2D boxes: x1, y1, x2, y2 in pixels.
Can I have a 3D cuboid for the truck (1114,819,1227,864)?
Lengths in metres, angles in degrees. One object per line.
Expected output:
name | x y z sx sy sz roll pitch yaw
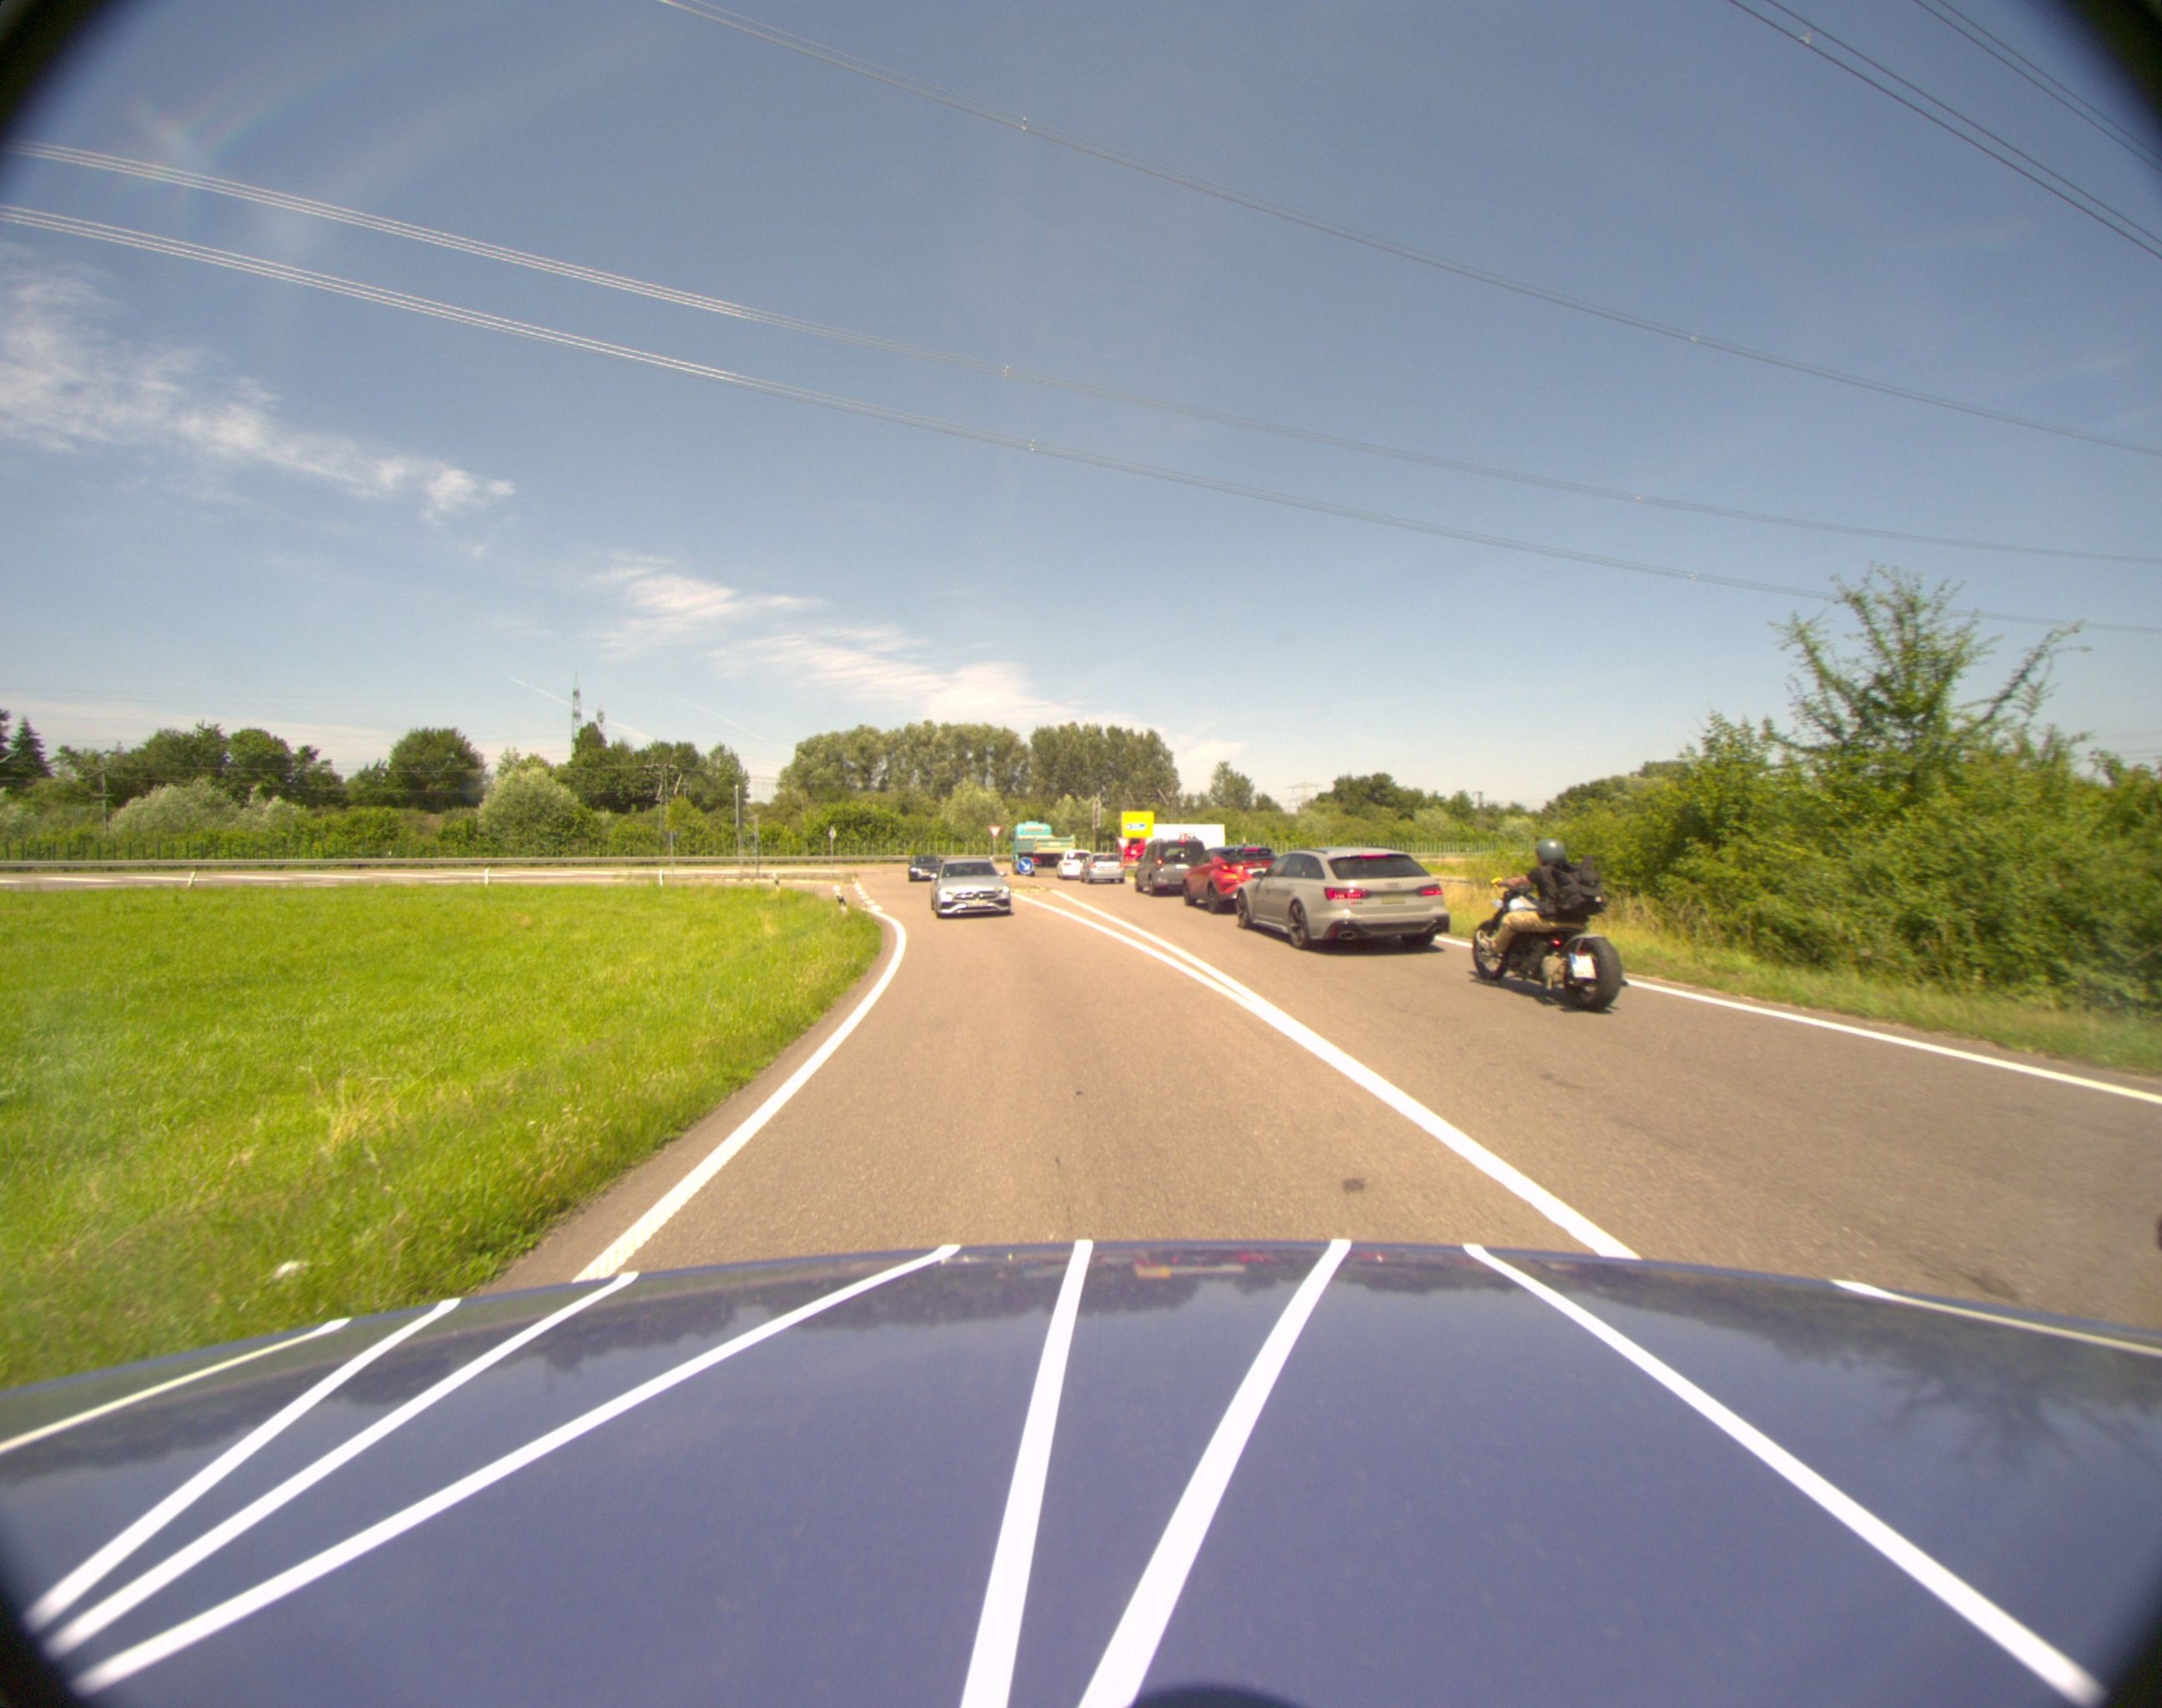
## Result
truck | 7.876 -1.098 66.407 9.564 3.559 2.720 -2 2 -21

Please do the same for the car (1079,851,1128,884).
car | 0.995 0.576 35.874 1.637 1.451 4.005 -1 0 -8

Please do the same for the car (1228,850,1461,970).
car | 3.894 0.711 12.247 1.846 1.452 4.806 -1 1 -3

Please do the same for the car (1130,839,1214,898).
car | 2.929 0.430 25.493 1.932 1.821 4.436 0 0 -5

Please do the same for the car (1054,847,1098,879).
car | -0.331 0.463 41.901 1.778 1.611 4.327 -2 0 -8

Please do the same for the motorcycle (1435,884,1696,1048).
motorcycle | 4.356 0.925 7.146 0.784 1.117 2.428 -2 1 -3

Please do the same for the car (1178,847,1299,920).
car | 3.663 0.621 18.510 1.804 1.507 4.389 0 1 -3

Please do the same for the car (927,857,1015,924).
car | -3.011 0.860 20.071 1.826 1.478 4.142 -1 1 -14

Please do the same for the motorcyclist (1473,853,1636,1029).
motorcyclist | 4.355 0.746 7.083 0.783 1.486 1.130 -1 1 -3

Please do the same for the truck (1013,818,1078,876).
truck | -2.427 -0.453 49.128 2.612 3.451 7.598 0 0 -15

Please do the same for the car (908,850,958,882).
car | -8.095 0.630 41.958 1.824 1.432 4.146 1 3 2
